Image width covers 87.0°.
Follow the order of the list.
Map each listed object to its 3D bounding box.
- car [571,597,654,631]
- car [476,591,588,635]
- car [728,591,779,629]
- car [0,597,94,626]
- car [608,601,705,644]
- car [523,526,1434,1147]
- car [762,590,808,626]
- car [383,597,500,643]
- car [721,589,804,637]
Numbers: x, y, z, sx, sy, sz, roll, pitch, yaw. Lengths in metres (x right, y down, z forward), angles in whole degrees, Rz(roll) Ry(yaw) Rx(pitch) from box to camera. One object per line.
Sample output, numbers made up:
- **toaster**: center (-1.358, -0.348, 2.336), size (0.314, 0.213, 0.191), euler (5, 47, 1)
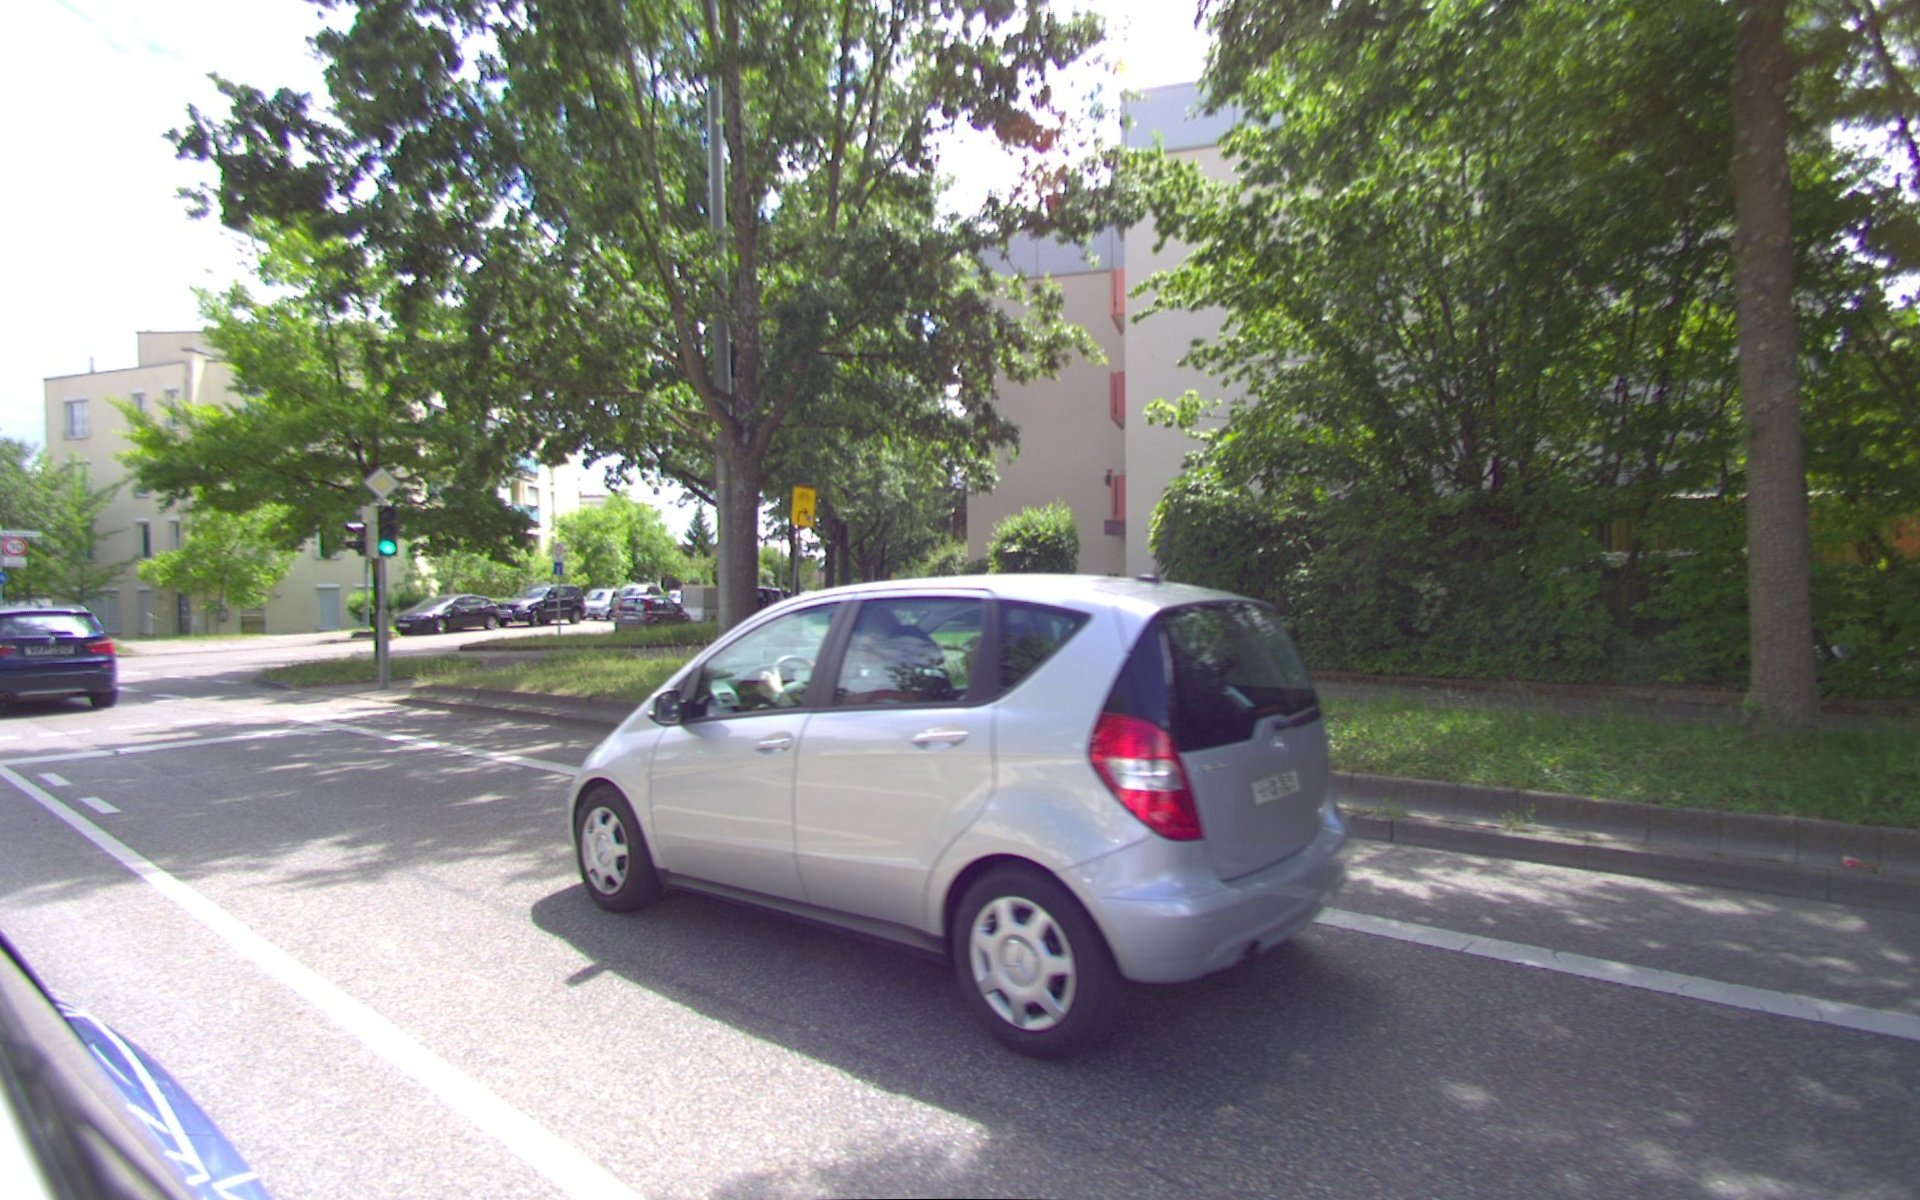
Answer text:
- **car**: center (-17.166, 0.664, 50.207), size (1.957, 1.342, 3.981), euler (-1, 3, 16)
- **car**: center (-18.694, 0.515, 44.509), size (2.082, 1.615, 4.770), euler (1, 3, 14)
- **car**: center (-10.658, 0.488, 52.558), size (2.094, 1.807, 4.423), euler (-2, 1, -5)
- **car**: center (-49.103, 0.618, 54.420), size (1.767, 1.431, 4.002), euler (-2, -1, -2)
- **car**: center (-11.336, 0.794, 38.042), size (1.681, 1.463, 3.981), euler (0, 1, 15)
- **car**: center (-0.222, 0.629, 4.620), size (3.998, 1.630, 1.690), euler (-1, 1, 41)
- **car**: center (-9.901, 0.434, 57.456), size (1.634, 1.747, 3.996), euler (-2, 3, 4)
- **car**: center (-20.096, 0.736, 39.454), size (1.721, 1.408, 4.134), euler (-1, 3, 14)
- **car**: center (-8.079, 0.551, 41.697), size (1.828, 1.858, 3.981), euler (-1, -2, 14)
